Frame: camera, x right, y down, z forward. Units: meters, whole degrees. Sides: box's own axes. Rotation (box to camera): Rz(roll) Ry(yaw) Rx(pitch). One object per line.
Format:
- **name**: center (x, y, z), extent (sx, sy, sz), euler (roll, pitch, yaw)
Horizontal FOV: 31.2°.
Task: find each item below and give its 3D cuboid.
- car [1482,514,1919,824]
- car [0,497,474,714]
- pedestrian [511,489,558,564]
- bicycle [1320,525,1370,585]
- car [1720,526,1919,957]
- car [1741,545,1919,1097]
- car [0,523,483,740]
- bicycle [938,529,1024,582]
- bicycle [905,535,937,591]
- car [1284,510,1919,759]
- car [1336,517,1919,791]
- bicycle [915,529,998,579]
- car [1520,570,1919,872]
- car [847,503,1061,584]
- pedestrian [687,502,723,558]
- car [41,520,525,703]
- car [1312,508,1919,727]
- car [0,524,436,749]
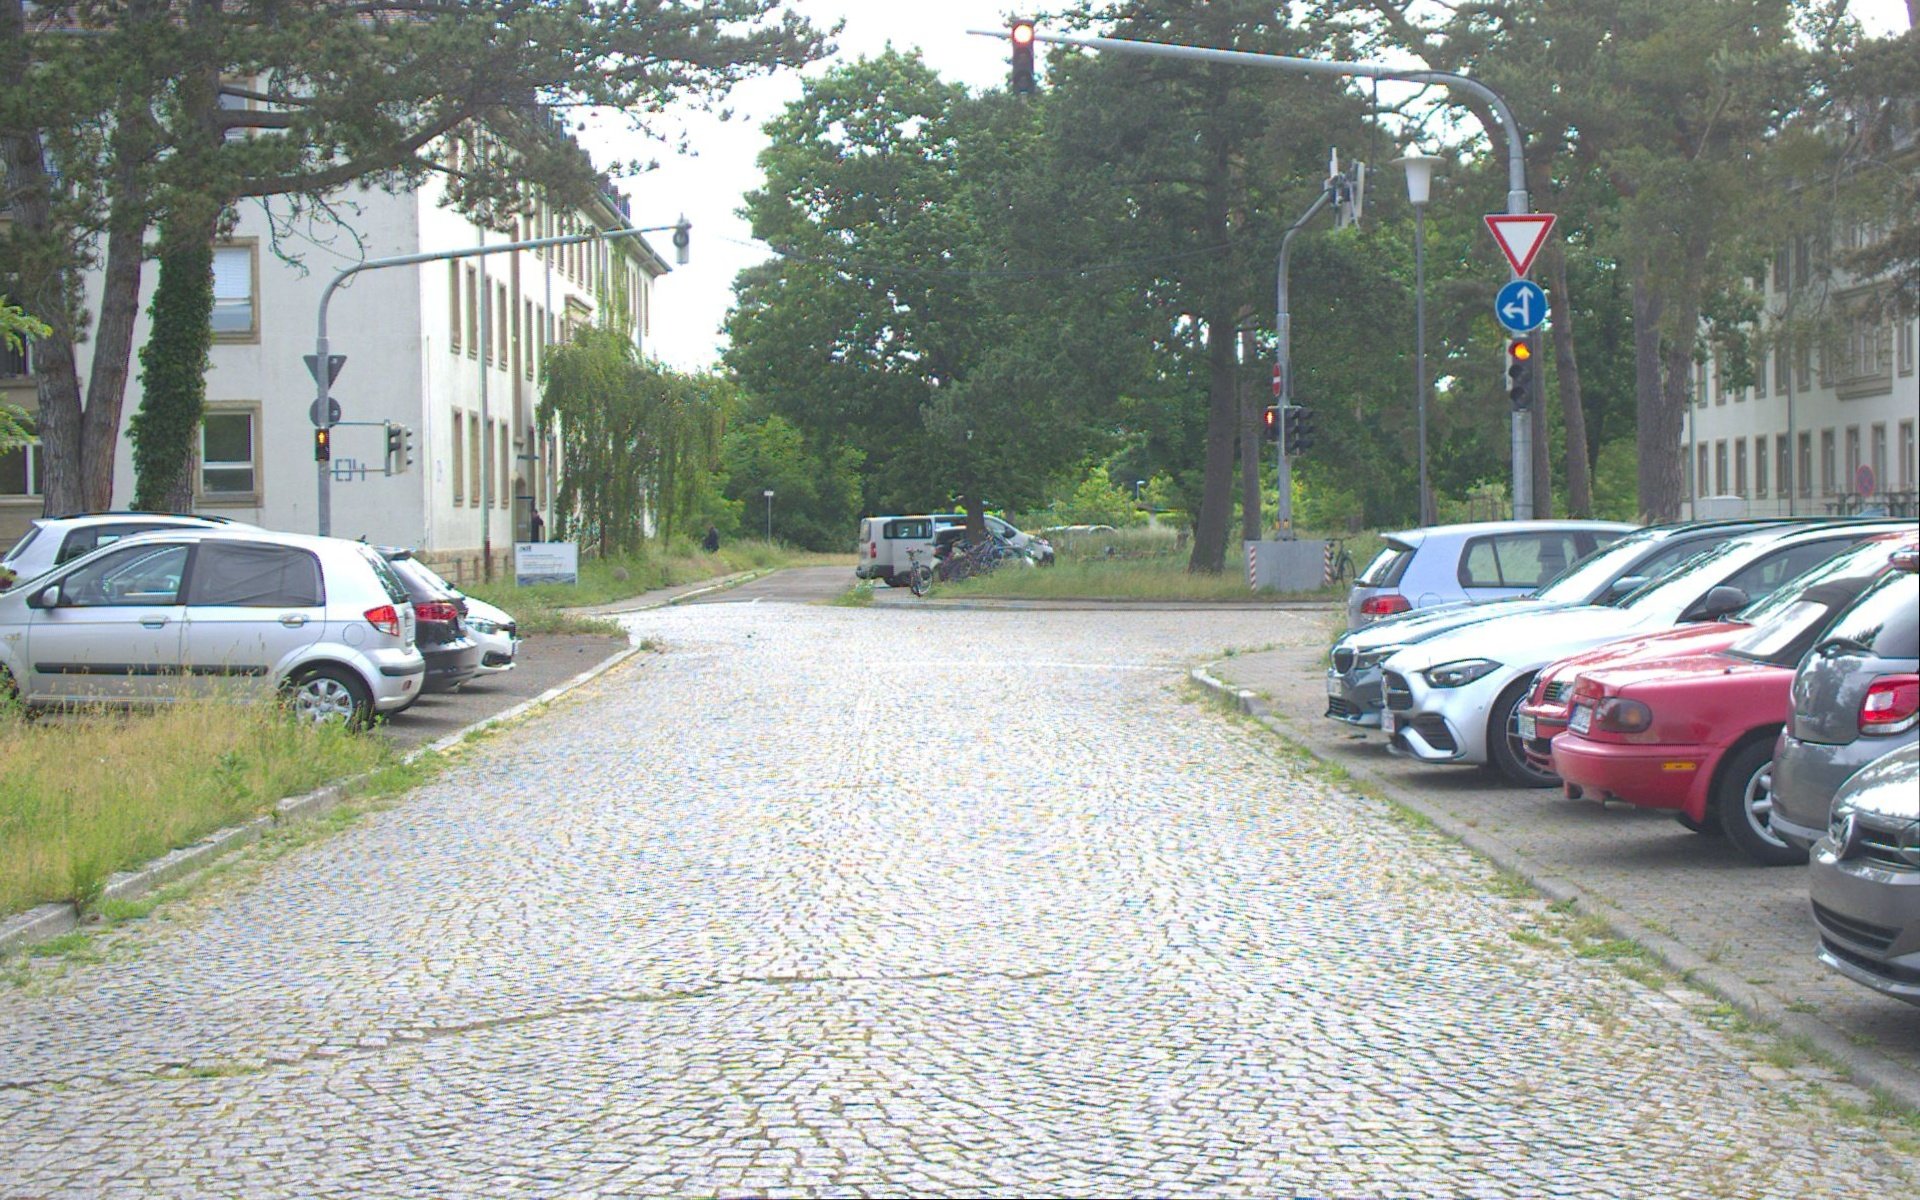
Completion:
- **car**: center (4.935, 0.296, 17.905), extent (4.104, 1.471, 1.685), euler (-2, 1, -2)
- **car**: center (-6.460, 0.025, 29.975), extent (4.297, 1.726, 1.653), euler (-2, 1, -6)
- **pedestrian**: center (-11.136, -1.924, 90.075), extent (1.074, 1.952, 1.121), euler (1, 1, -1)
- **bicycle**: center (6.992, -0.826, 62.442), extent (0.663, 1.047, 1.888), euler (1, 2, 0)
- **car**: center (4.831, 0.442, 12.937), extent (3.505, 1.482, 1.743), euler (-2, 1, -1)
- **car**: center (4.571, 0.530, 10.069), extent (4.130, 1.442, 1.766), euler (-2, 1, 0)
- **car**: center (-5.982, 0.224, 27.177), extent (4.297, 1.548, 1.812), euler (-2, 1, -6)
- **bicycle**: center (0.473, -1.012, 77.665), extent (1.881, 1.167, 0.665), euler (1, 1, -6)
- **bicycle**: center (-0.820, -0.795, 73.025), extent (0.663, 1.167, 1.888), euler (1, 1, 0)
- **car**: center (4.468, 0.191, 23.030), extent (4.227, 1.474, 1.710), euler (-2, 1, -11)
- **car**: center (4.489, 0.268, 20.264), extent (4.184, 1.432, 1.756), euler (-2, 1, -8)
- **bicycle**: center (-0.084, -1.088, 81.158), extent (1.881, 1.167, 0.665), euler (1, 1, -6)
- **car**: center (4.469, 0.490, 15.563), extent (3.587, 1.218, 1.628), euler (-2, 1, 1)
- **car**: center (-0.178, -1.538, 92.460), extent (5.374, 2.094, 2.179), euler (-1, 1, -13)
- **pedestrian**: center (-9.045, -2.480, 121.892), extent (1.239, 1.952, 1.121), euler (1, 1, -6)
- **car**: center (-6.305, 0.080, 32.432), extent (4.297, 1.548, 1.812), euler (-2, 1, -6)
- **car**: center (4.835, 0.102, 25.585), extent (4.134, 1.458, 1.634), euler (-2, 1, -6)
- **car**: center (-5.716, 0.229, 24.581), extent (3.720, 1.475, 1.673), euler (1, 1, -3)
